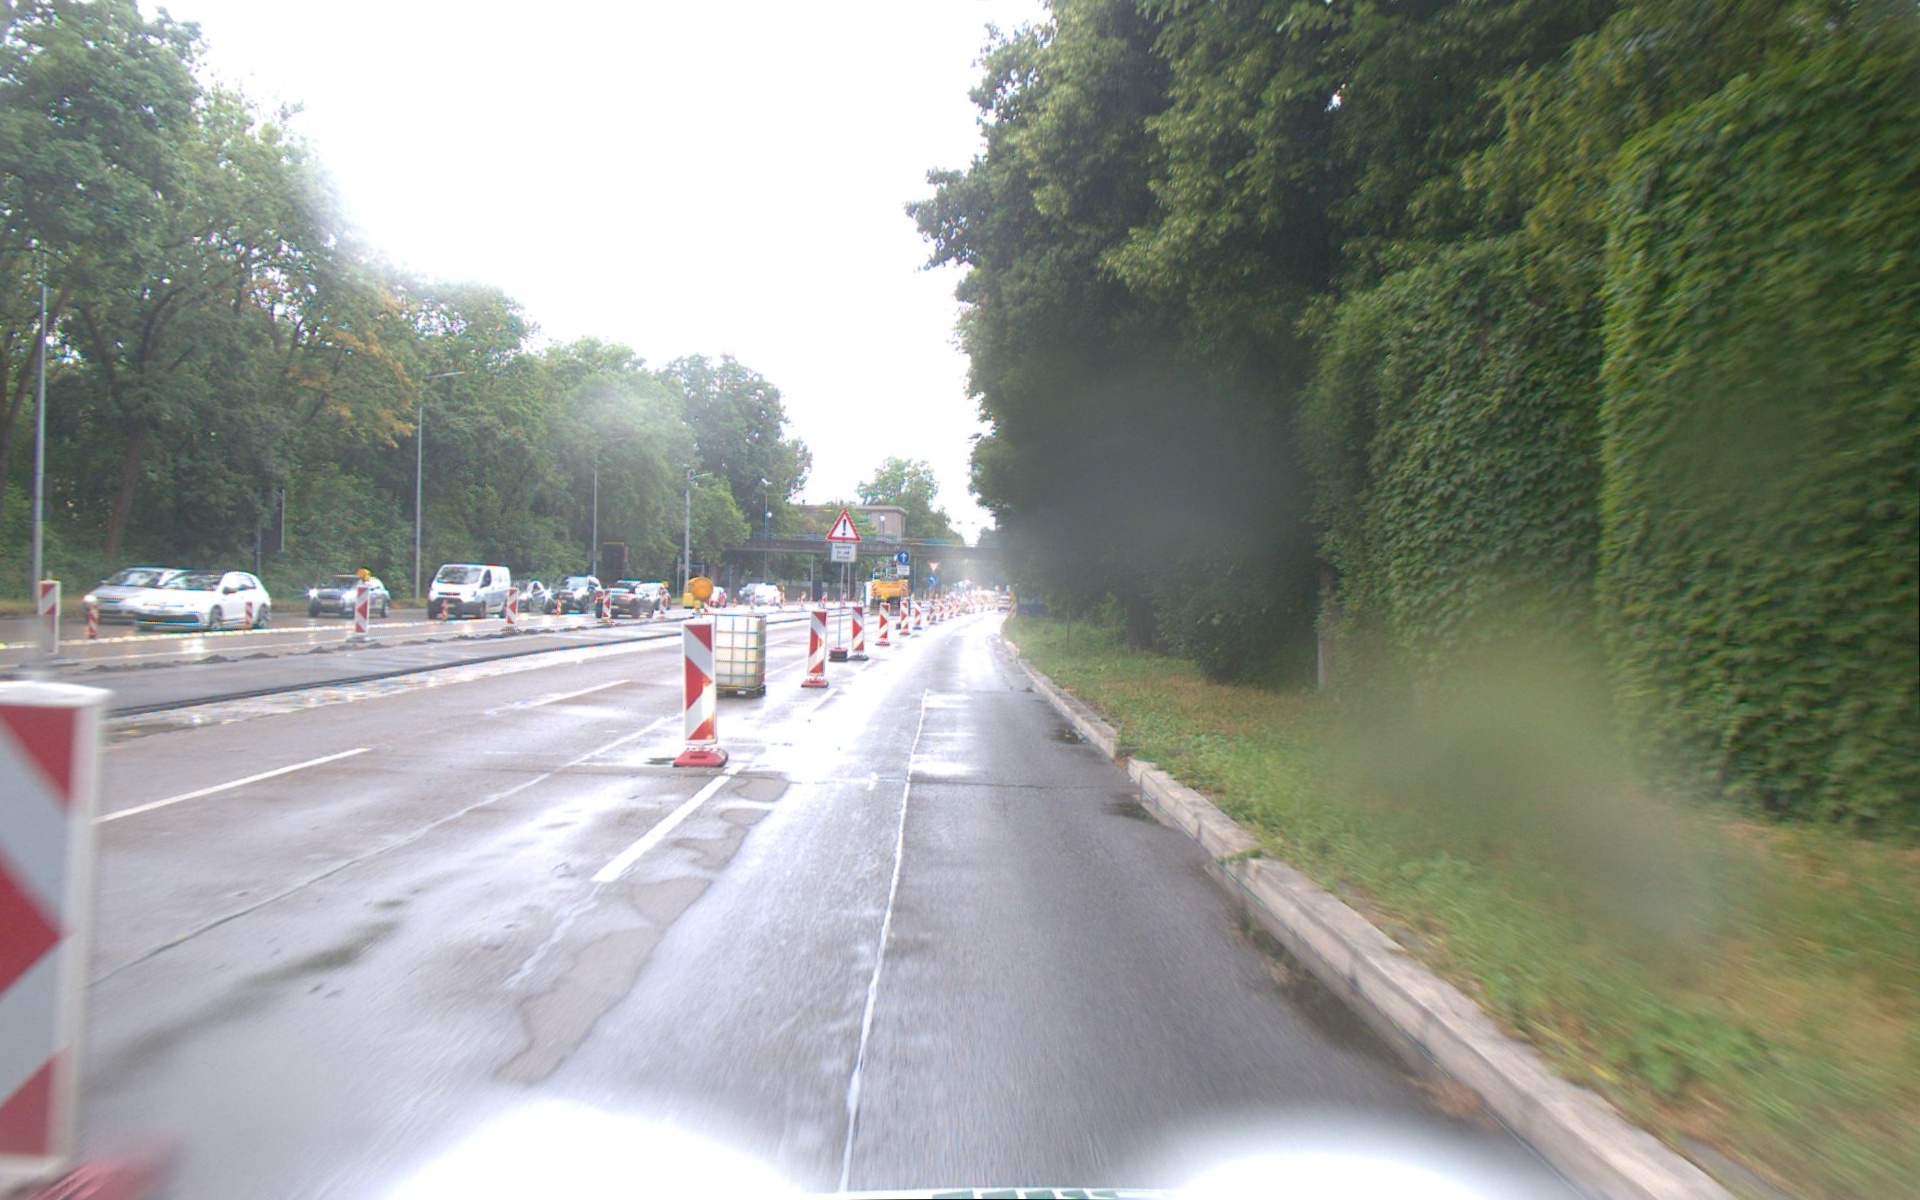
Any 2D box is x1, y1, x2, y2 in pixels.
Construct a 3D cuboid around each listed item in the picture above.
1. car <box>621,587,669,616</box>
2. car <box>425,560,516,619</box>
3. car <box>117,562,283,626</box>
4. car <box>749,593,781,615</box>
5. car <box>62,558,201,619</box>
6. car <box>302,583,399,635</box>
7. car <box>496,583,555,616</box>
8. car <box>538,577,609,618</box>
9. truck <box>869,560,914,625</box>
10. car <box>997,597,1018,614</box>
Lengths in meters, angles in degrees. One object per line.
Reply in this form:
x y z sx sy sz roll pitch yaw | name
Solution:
-17.586 0.068 92.573 1.740 1.513 4.197 2 0 1 | car
-18.101 -0.366 61.360 1.953 2.006 4.901 2 0 -2 | car
-18.368 -0.121 40.223 1.952 1.440 4.393 1 -1 0 | car
-15.578 0.319 132.301 1.851 1.690 4.893 2 0 0 | car
-21.185 -0.253 42.456 1.645 1.425 3.639 3 -1 1 | car
-20.855 0.304 56.760 1.790 1.650 3.999 3 -1 -1 | car
-20.399 0.002 77.846 1.611 1.445 4.000 2 0 1 | car
-17.812 -0.098 76.523 1.980 1.755 5.012 3 0 1 | car
-4.830 -0.507 118.992 2.839 4.333 10.752 3 0 -1 | truck
4.766 0.555 166.589 1.952 1.669 4.001 1 -1 3 | car
